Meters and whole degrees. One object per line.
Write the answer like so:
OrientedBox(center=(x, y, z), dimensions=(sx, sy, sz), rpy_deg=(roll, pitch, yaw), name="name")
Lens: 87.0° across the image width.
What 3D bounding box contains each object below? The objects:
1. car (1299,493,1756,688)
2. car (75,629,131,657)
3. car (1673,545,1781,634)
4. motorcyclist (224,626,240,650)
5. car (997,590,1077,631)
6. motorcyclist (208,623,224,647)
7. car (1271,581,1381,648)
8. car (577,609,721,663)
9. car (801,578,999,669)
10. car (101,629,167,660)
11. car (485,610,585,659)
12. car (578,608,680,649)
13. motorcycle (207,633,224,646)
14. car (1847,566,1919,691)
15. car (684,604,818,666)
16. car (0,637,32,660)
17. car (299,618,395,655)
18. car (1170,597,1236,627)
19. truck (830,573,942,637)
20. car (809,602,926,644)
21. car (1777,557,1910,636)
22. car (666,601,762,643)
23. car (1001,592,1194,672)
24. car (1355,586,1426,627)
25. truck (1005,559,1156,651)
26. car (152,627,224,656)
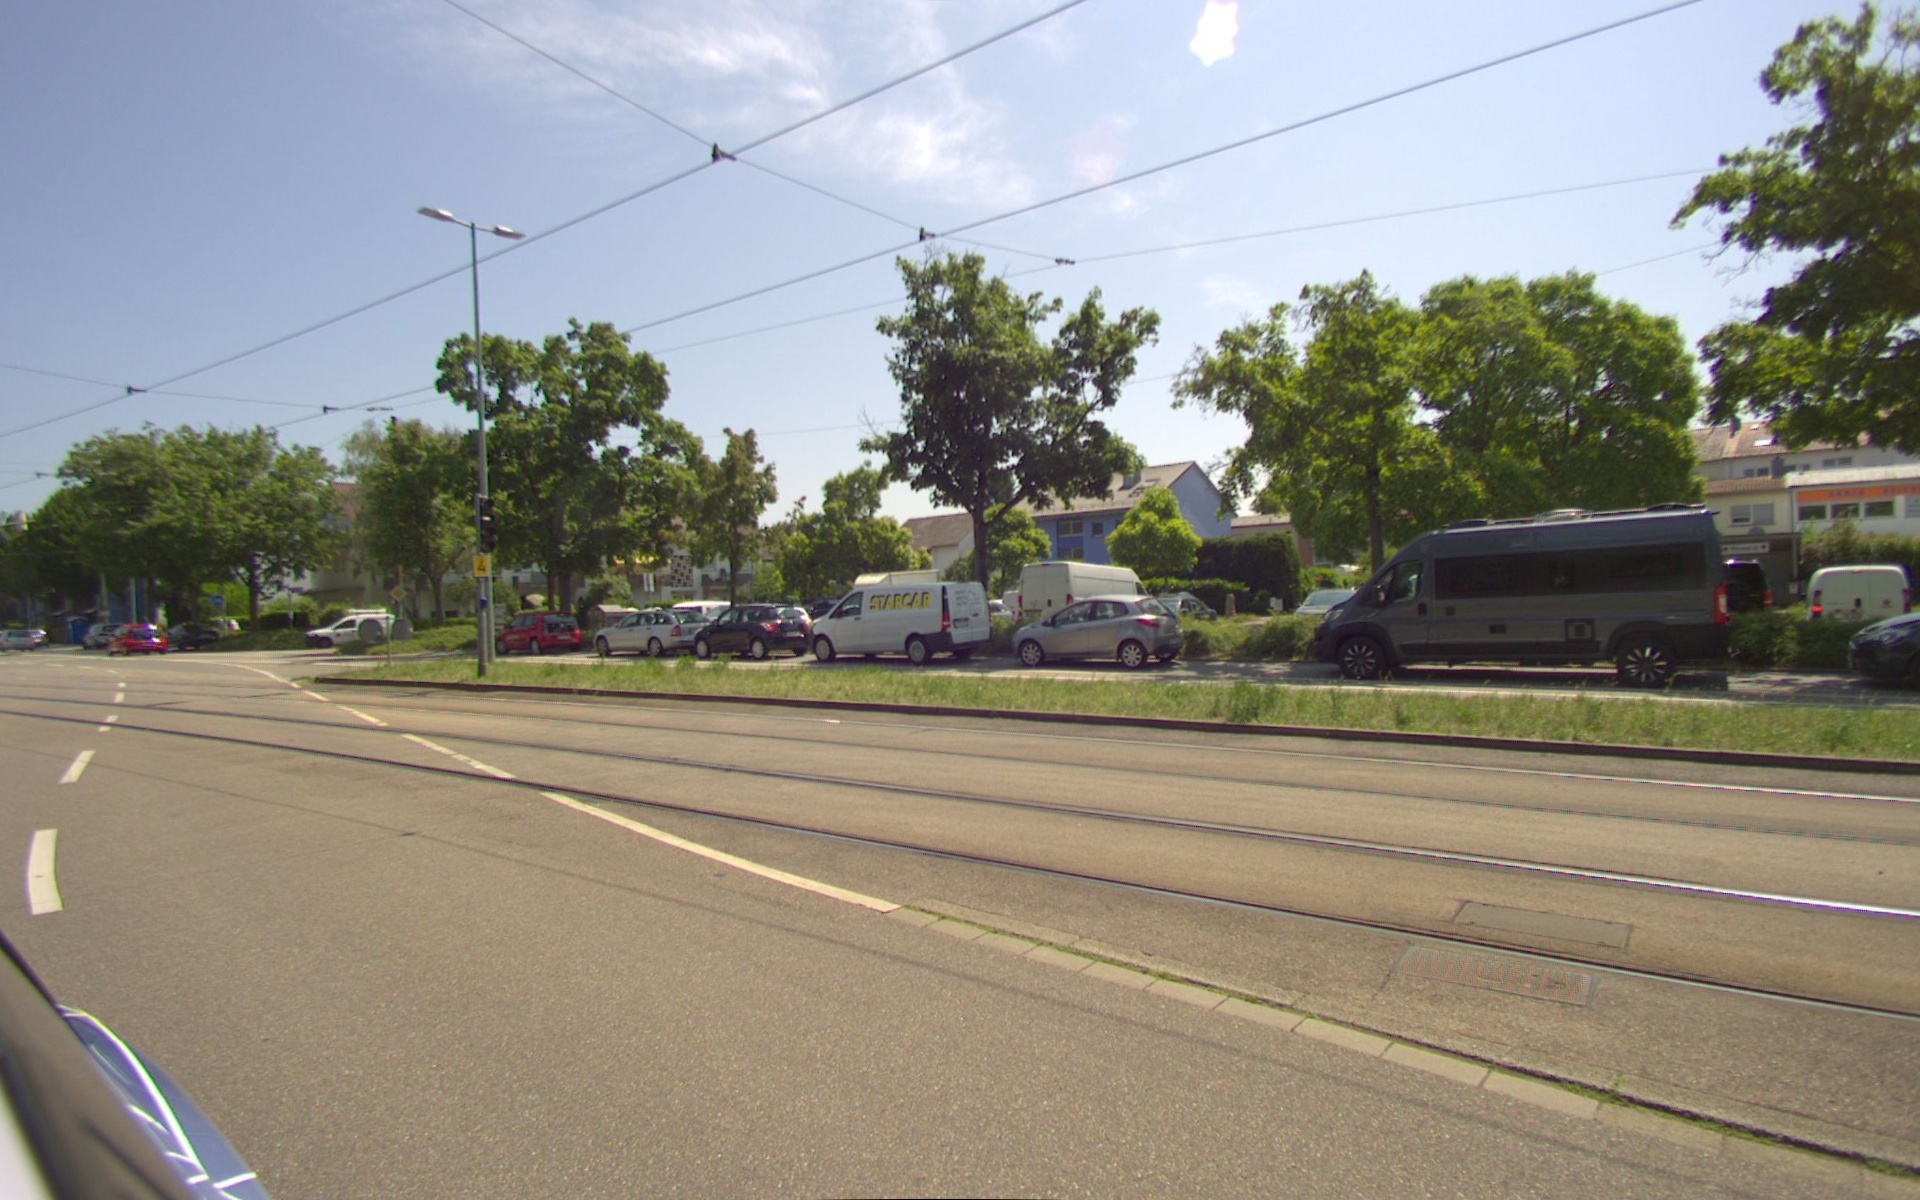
OrientedBox(center=(9.112, -0.137, 16.673), dimensions=(6.163, 2.675, 2.377), rpy_deg=(-2, 3, 37), name="car")
OrientedBox(center=(-58.036, 2.890, 68.503), dimensions=(4.682, 1.701, 1.952), rpy_deg=(-2, 1, 39), name="car")
OrientedBox(center=(17.721, -0.234, 23.543), dimensions=(1.793, 1.827, 4.677), rpy_deg=(-2, 0, 35), name="car")
OrientedBox(center=(-48.178, 2.500, 66.962), dimensions=(0.661, 1.514, 0.581), rpy_deg=(-2, 2, 38), name="motorcyclist")
OrientedBox(center=(3.791, 0.489, 49.246), dimensions=(1.967, 1.834, 4.091), rpy_deg=(-2, 1, 36), name="car")
OrientedBox(center=(-50.361, 2.372, 68.487), dimensions=(0.724, 1.514, 0.581), rpy_deg=(-2, 2, 38), name="motorcyclist")
OrientedBox(center=(10.508, 0.372, 28.897), dimensions=(1.853, 1.779, 4.173), rpy_deg=(-2, 0, 36), name="car")
OrientedBox(center=(-9.759, 1.117, 31.608), dimensions=(4.760, 1.437, 1.704), rpy_deg=(-2, 3, 36), name="car")
OrientedBox(center=(-1.567, 0.573, 25.061), dimensions=(4.799, 1.951, 1.845), rpy_deg=(-2, 3, 39), name="car")
OrientedBox(center=(-39.549, 2.117, 48.448), dimensions=(3.600, 1.420, 1.642), rpy_deg=(-2, -1, 37), name="car")
OrientedBox(center=(-14.913, 1.185, 35.445), dimensions=(3.723, 1.557, 1.655), rpy_deg=(-1, 1, 40), name="car")
OrientedBox(center=(-16.318, 1.389, 50.078), dimensions=(2.056, 1.871, 4.410), rpy_deg=(-2, 0, 35), name="car")
OrientedBox(center=(-50.436, 2.681, 68.573), dimensions=(1.369, 0.831, 0.521), rpy_deg=(-2, 2, 39), name="motorcycle")
OrientedBox(center=(13.847, 0.316, 12.661), dimensions=(4.018, 1.533, 1.300), rpy_deg=(-2, 3, 38), name="car")
OrientedBox(center=(-5.917, 0.966, 28.464), dimensions=(3.781, 1.495, 1.599), rpy_deg=(-2, 3, 40), name="car")
OrientedBox(center=(-60.910, 3.084, 64.769), dimensions=(3.805, 1.387, 1.633), rpy_deg=(-1, -2, 38), name="car")
OrientedBox(center=(-32.338, 1.903, 53.416), dimensions=(4.167, 1.719, 1.745), rpy_deg=(-2, 0, -38), name="car")
OrientedBox(center=(11.309, 0.543, 46.996), dimensions=(1.508, 1.179, 3.709), rpy_deg=(-2, 0, 39), name="car")
OrientedBox(center=(-3.979, 0.225, 56.078), dimensions=(2.146, 3.252, 6.917), rpy_deg=(-2, 0, 35), name="truck")
OrientedBox(center=(-3.584, 0.875, 40.041), dimensions=(2.054, 1.499, 4.719), rpy_deg=(-2, 0, 36), name="car")
OrientedBox(center=(19.853, -0.085, 22.925), dimensions=(1.793, 1.614, 4.341), rpy_deg=(-2, 0, 35), name="car")
OrientedBox(center=(-11.563, 1.010, 47.808), dimensions=(1.671, 1.849, 4.226), rpy_deg=(-2, 0, 38), name="car")
OrientedBox(center=(2.866, 0.672, 21.506), dimensions=(3.834, 1.450, 1.392), rpy_deg=(-2, 3, 38), name="car")
OrientedBox(center=(17.099, 0.235, 40.101), dimensions=(1.508, 1.414, 4.087), rpy_deg=(-2, 0, 39), name="car")
OrientedBox(center=(4.112, 0.132, 33.587), dimensions=(2.429, 2.780, 5.525), rpy_deg=(-2, 0, 38), name="truck")
OrientedBox(center=(-44.335, 2.390, 58.116), dimensions=(4.798, 1.467, 1.878), rpy_deg=(-2, 1, 35), name="car")
